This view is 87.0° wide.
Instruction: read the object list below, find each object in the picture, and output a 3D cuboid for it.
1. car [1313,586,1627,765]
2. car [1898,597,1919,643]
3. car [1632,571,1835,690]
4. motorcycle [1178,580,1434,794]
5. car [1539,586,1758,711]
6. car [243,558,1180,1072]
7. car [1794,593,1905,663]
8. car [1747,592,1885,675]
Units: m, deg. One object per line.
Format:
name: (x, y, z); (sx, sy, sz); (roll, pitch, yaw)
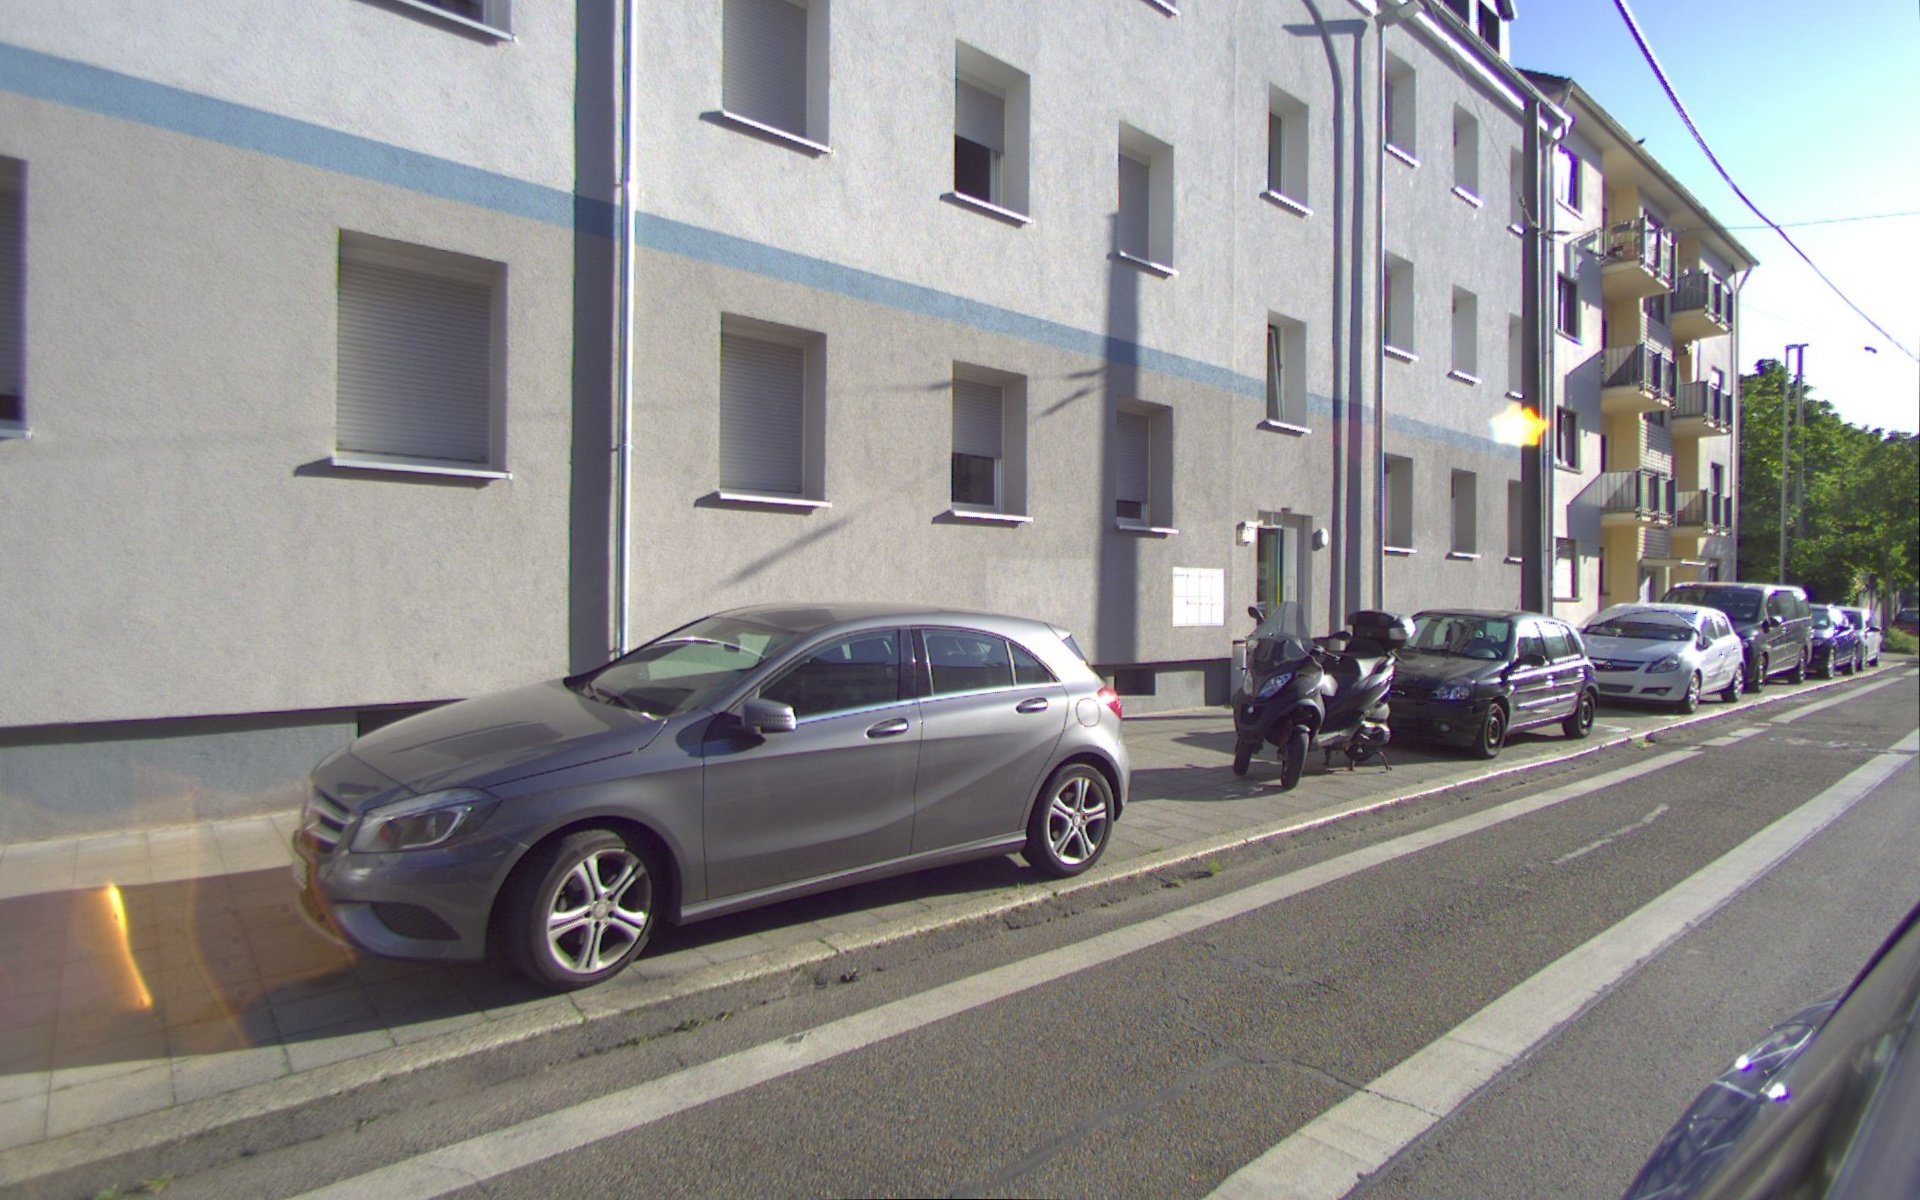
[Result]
car: (5.655, 0.682, 11.042); (3.834, 1.590, 1.613); (0, 2, -39)
car: (35.837, 0.736, 37.094); (4.399, 1.590, 1.612); (0, 2, -41)
car: (14.610, 0.487, 19.018); (4.914, 1.945, 1.934); (0, 2, -40)
motorcycle: (2.998, 0.626, 8.555); (2.661, 1.540, 0.807); (0, 2, -42)
car: (10.449, 0.629, 15.269); (3.836, 1.590, 1.804); (0, 2, -41)
car: (-0.991, 0.638, 5.206); (4.288, 1.574, 1.868); (0, 2, -39)
car: (22.258, 0.646, 25.294); (3.568, 1.561, 1.556); (0, 2, -40)
car: (18.754, 0.665, 22.115); (4.144, 1.590, 1.612); (0, 2, -41)
